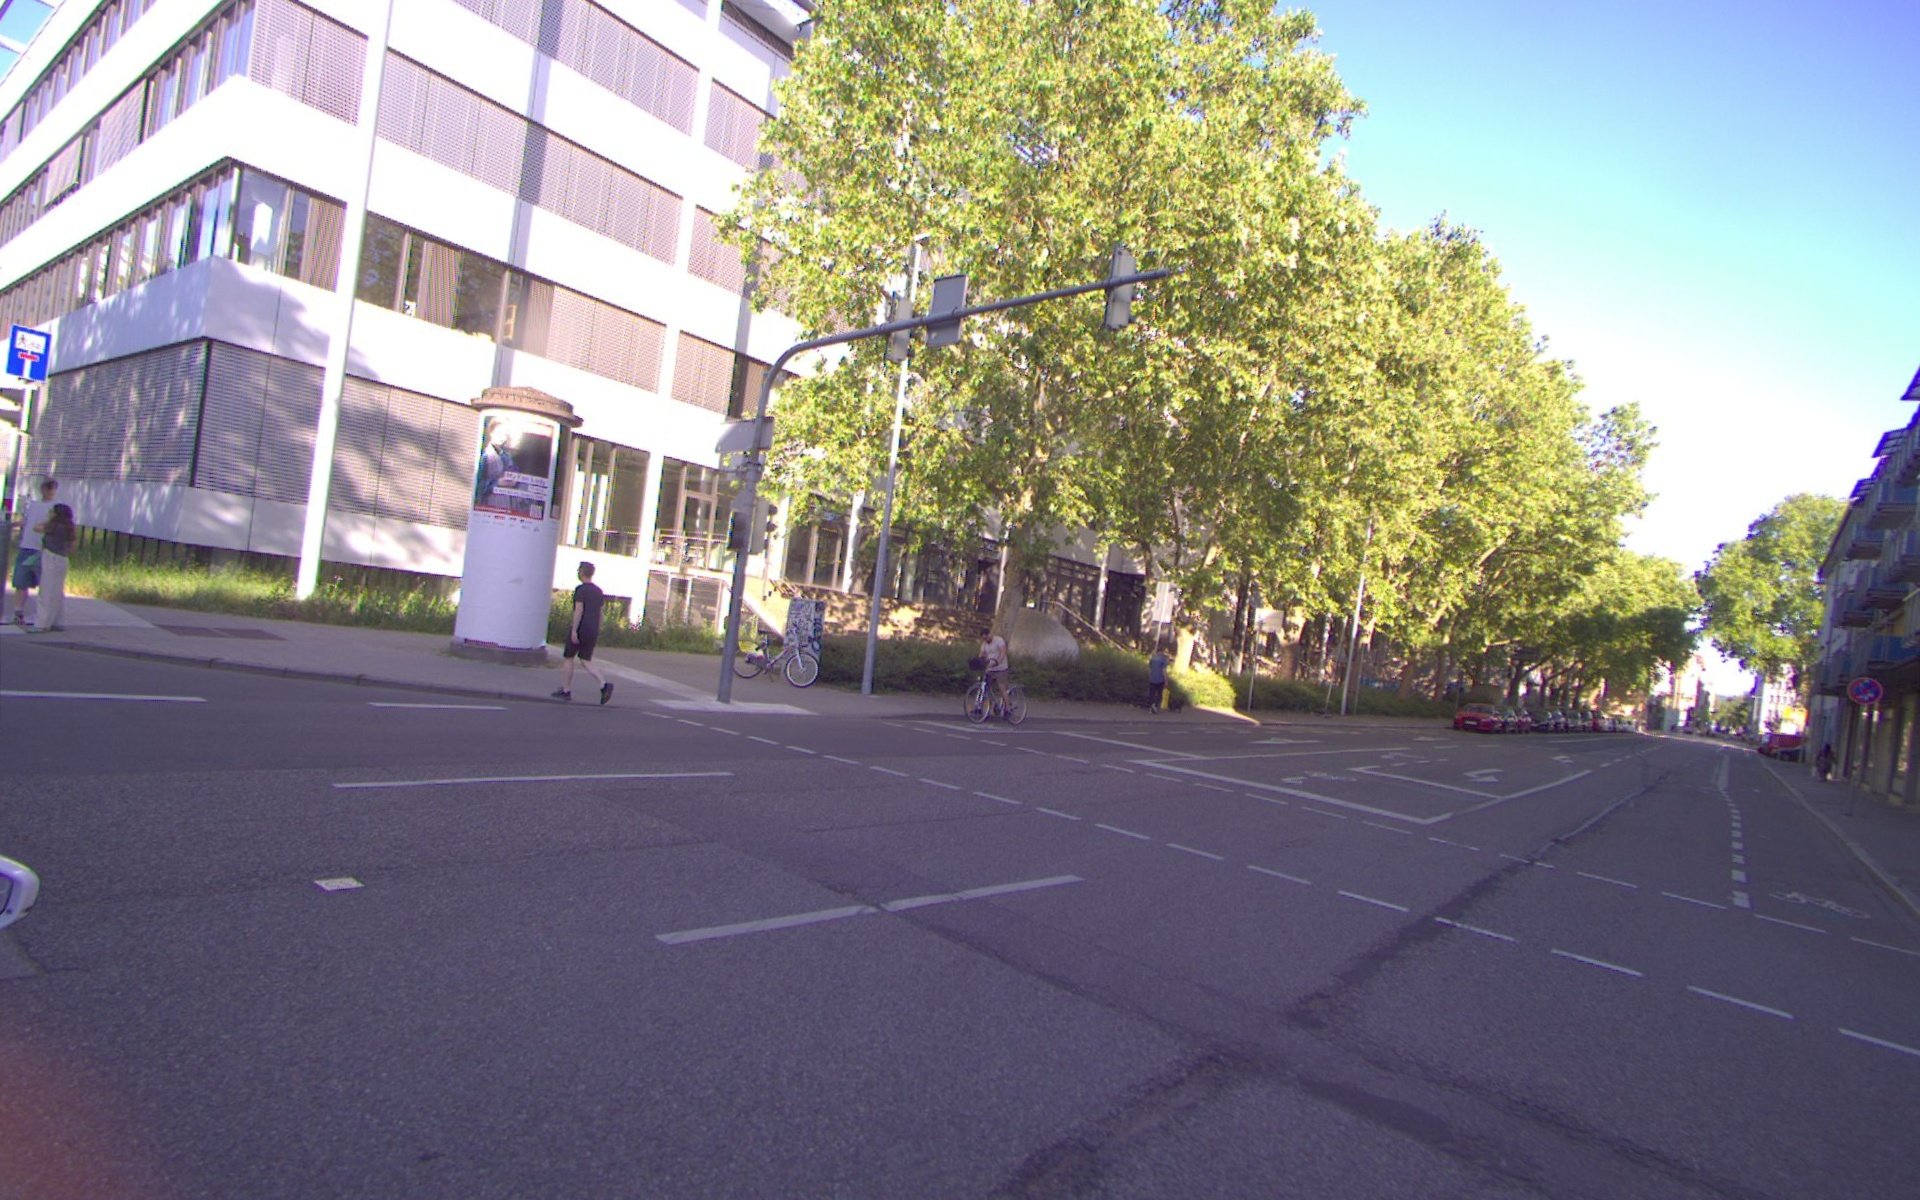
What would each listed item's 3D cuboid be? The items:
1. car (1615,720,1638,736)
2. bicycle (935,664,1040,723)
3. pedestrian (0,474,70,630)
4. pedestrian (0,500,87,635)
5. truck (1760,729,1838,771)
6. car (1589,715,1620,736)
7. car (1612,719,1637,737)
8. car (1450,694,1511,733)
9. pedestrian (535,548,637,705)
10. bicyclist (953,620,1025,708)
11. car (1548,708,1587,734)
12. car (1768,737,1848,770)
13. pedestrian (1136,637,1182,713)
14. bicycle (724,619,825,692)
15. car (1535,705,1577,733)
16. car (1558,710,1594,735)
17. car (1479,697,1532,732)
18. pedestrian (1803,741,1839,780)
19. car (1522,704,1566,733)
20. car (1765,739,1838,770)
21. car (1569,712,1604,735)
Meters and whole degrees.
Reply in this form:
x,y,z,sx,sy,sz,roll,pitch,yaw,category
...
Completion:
x,y,z,sx,sy,sz,roll,pitch,yaw,category
79.083,15.238,119.312,1.863,1.563,3.988,6,-2,38,car
0.548,1.763,18.738,0.721,0.938,2.110,7,-1,39,bicycle
-11.734,-0.610,12.681,0.554,1.876,0.672,4,3,-29,pedestrian
-11.259,-0.391,12.335,0.664,1.561,0.560,7,3,27,pedestrian
65.268,11.655,78.310,4.379,2.473,1.797,6,-3,38,truck
58.429,11.379,91.167,1.863,1.563,3.988,6,-2,38,car
73.691,14.208,111.601,1.863,1.563,3.988,6,-2,38,car
25.920,5.656,50.041,1.863,1.563,3.988,6,-2,38,car
-4.806,0.336,12.931,0.826,1.860,0.706,7,-2,44,pedestrian
0.535,1.192,18.622,0.738,1.506,0.951,7,0,40,bicyclist
44.317,8.818,73.336,1.863,1.563,3.988,6,-2,38,car
57.611,10.426,68.425,3.941,1.566,1.798,6,-3,38,car
5.243,1.974,26.503,0.697,1.860,0.836,8,-2,33,pedestrian
-3.454,1.026,18.787,1.656,1.062,0.508,9,2,10,bicycle
41.114,8.237,69.403,1.863,1.563,3.988,6,-2,38,car
48.541,9.667,79.234,1.863,1.563,3.988,6,-2,38,car
30.276,6.347,55.777,1.863,1.563,3.988,6,-2,38,car
35.503,6.615,41.506,0.935,1.410,0.951,7,0,38,pedestrian
38.060,7.726,65.529,1.863,1.563,3.988,6,-2,38,car
61.881,11.374,74.066,3.941,1.566,1.798,6,-3,38,car
51.874,10.262,83.263,1.863,1.563,3.988,6,-2,38,car
